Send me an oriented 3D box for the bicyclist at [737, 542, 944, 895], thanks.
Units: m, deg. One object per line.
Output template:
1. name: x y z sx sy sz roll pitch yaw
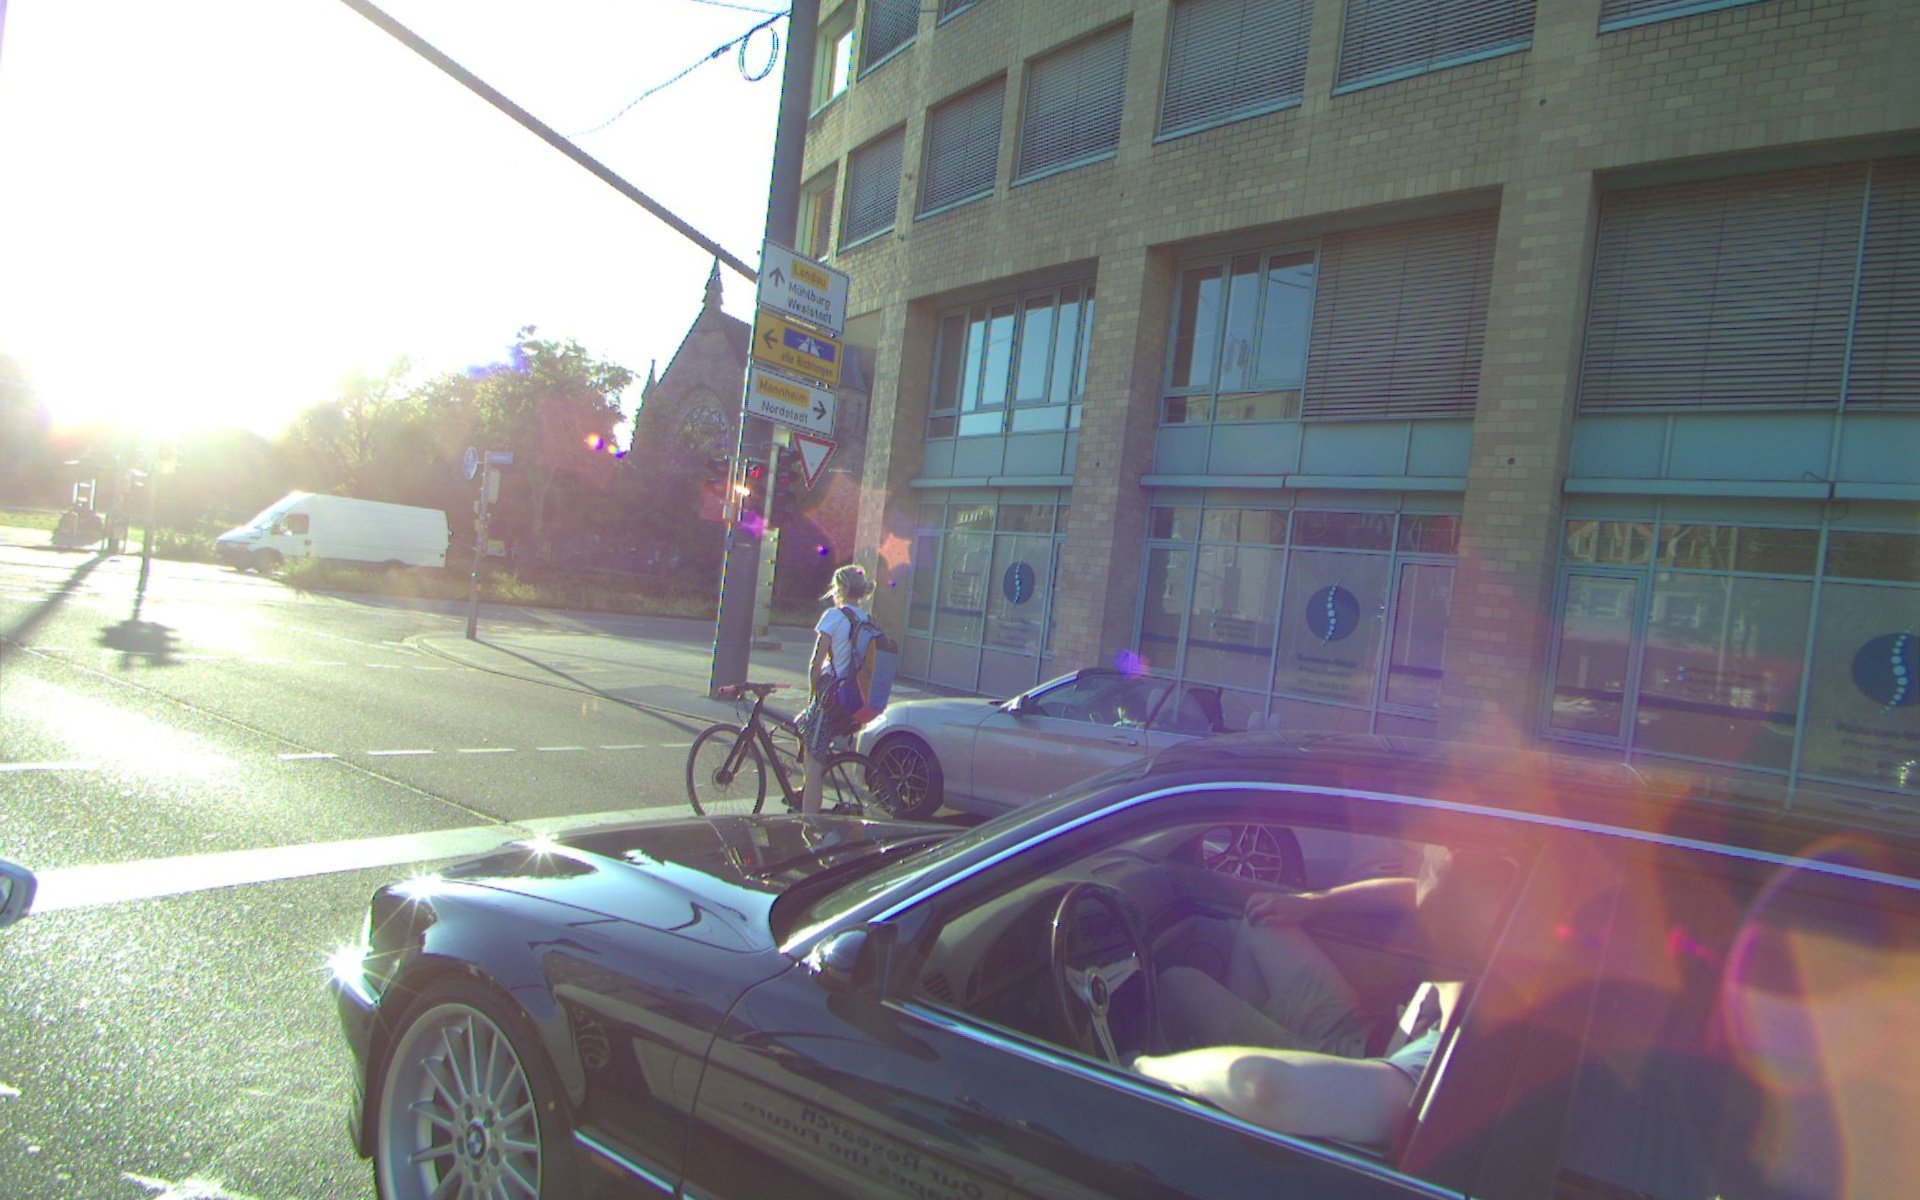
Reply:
1. bicyclist: -0.686 0.647 5.835 0.764 1.843 0.634 7 1 30

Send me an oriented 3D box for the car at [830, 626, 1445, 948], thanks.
1. car: 1.250 1.196 7.678 4.157 1.401 1.747 7 -1 32

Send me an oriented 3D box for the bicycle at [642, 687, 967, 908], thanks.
1. bicycle: -0.954 1.088 5.959 1.838 0.884 0.634 7 0 30

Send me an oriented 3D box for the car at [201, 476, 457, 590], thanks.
1. car: -21.288 -2.160 34.426 2.059 2.862 7.017 7 0 33

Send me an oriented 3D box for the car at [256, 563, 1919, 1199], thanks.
1. car: 0.894 0.933 2.002 4.661 1.402 1.997 7 -1 32
